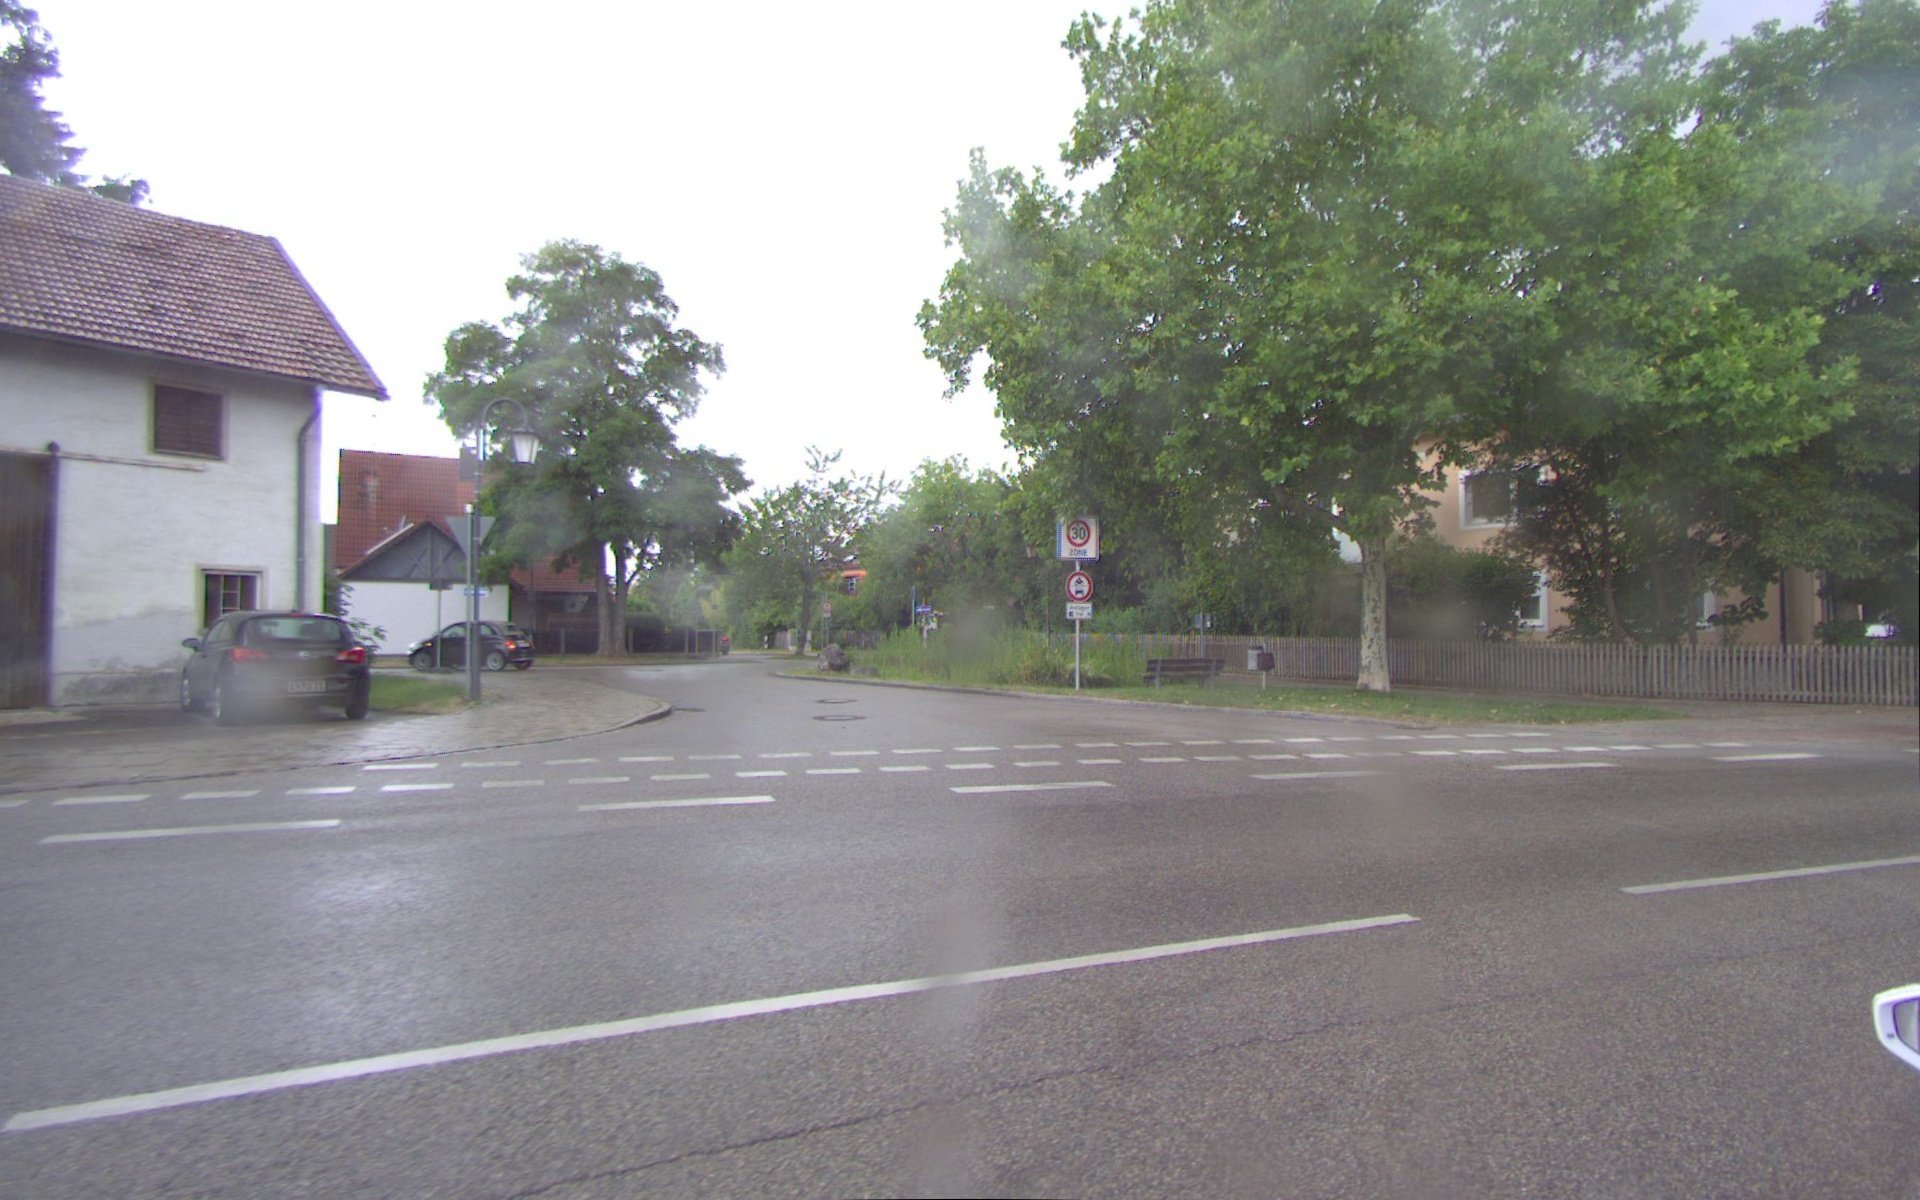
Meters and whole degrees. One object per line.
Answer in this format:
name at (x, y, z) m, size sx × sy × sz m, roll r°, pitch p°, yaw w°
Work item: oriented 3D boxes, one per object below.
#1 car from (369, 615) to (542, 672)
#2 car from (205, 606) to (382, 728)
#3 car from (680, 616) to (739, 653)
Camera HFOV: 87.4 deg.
car at (-14.934, 1.269, 29.888) m, size 4.195 × 1.569 × 1.881 m, roll 1°, pitch -1°, yaw 3°
car at (-9.477, 0.853, 14.248) m, size 1.803 × 1.455 × 4.239 m, roll 2°, pitch -2°, yaw -35°
car at (-14.894, 2.023, 59.700) m, size 1.982 × 2.040 × 3.957 m, roll 2°, pitch 0°, yaw -37°
